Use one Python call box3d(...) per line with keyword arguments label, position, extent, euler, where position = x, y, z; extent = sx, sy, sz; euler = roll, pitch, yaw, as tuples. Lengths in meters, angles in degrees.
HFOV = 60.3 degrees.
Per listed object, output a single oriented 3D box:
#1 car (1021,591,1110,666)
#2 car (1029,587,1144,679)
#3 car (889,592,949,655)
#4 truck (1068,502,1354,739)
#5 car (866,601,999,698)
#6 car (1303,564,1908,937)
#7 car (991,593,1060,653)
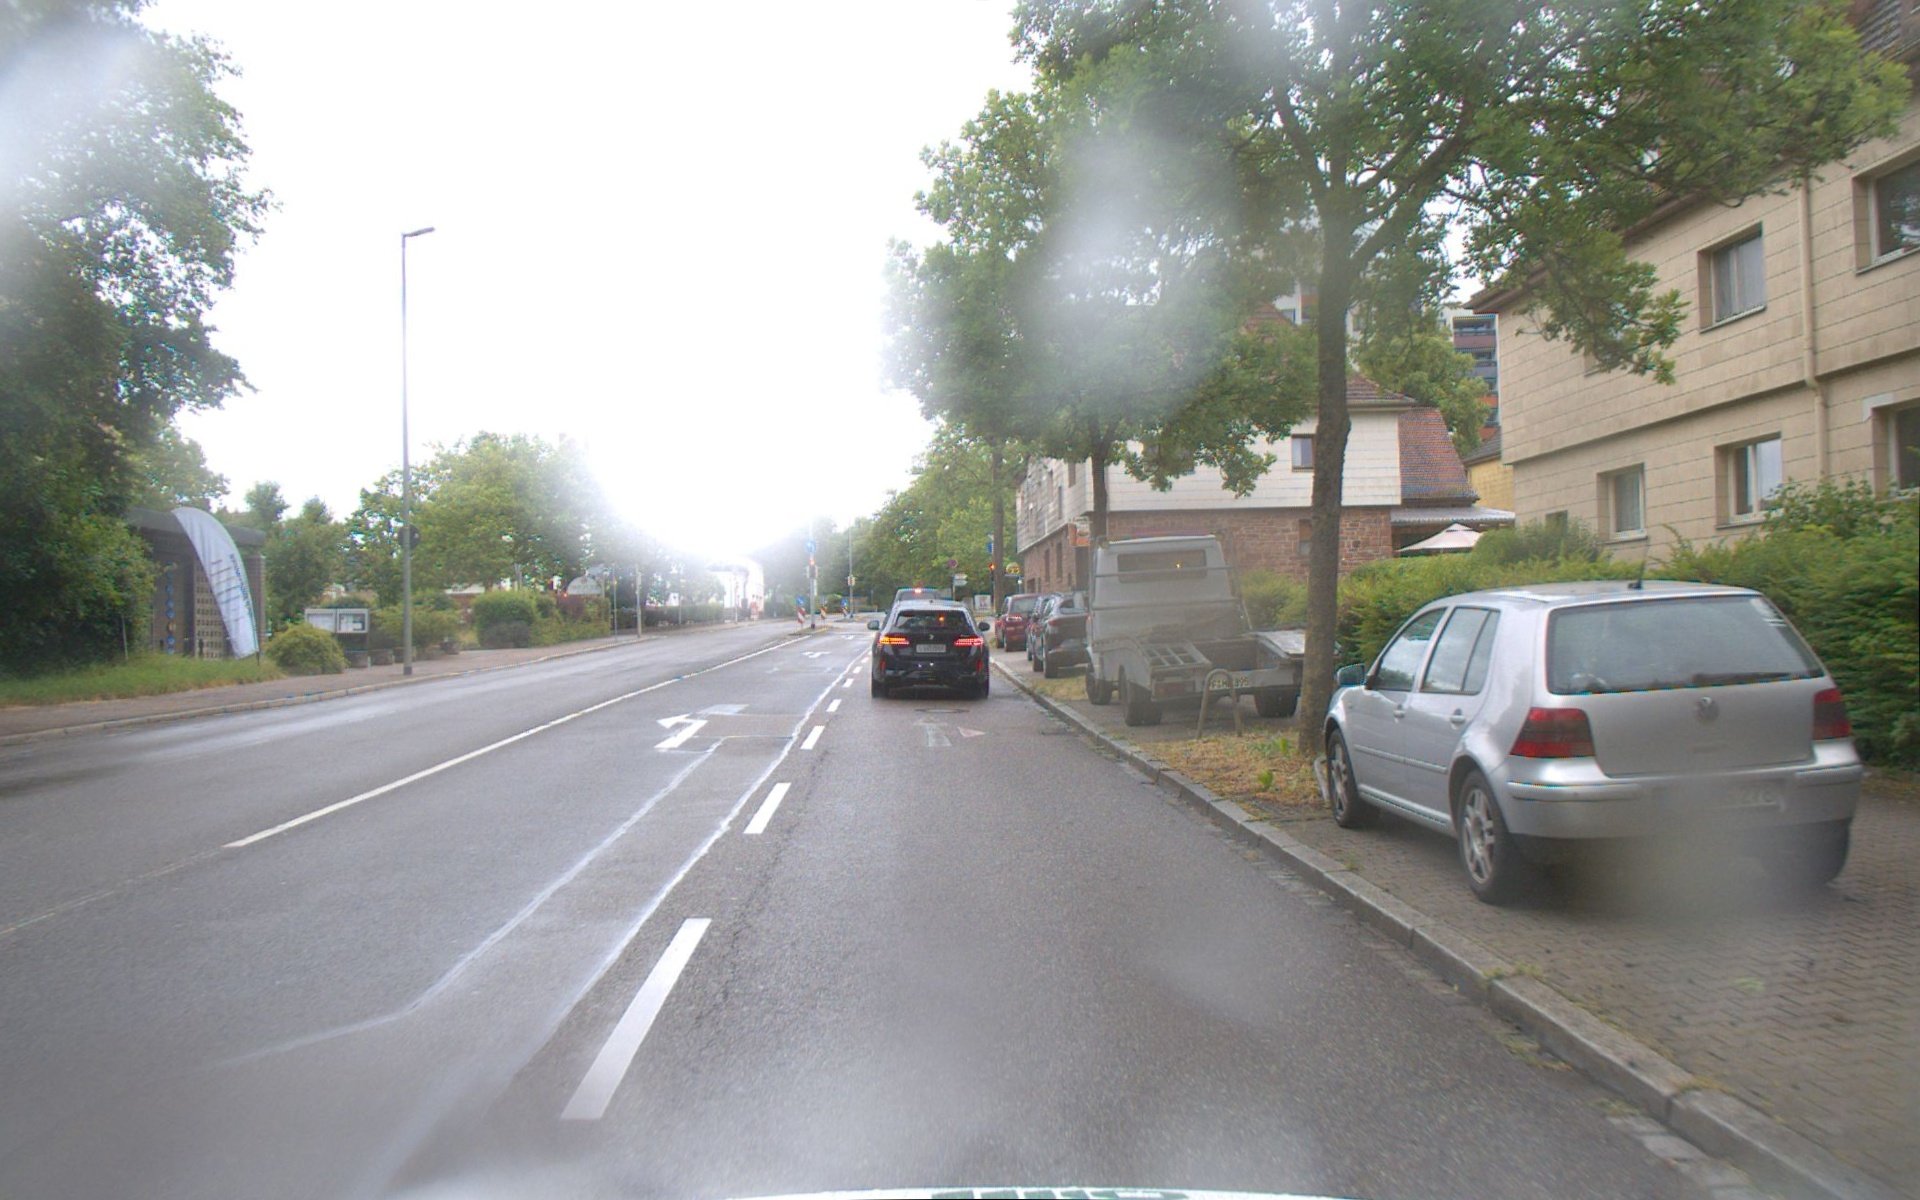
box3d(label="car", position=(2.329, 0.604, 37.362), extent=(1.572, 1.497, 3.855), euler=(-4, 0, -1))
box3d(label="car", position=(2.328, 0.584, 31.386), extent=(1.680, 1.524, 4.182), euler=(-4, 0, -1))
box3d(label="car", position=(-1.297, 0.685, 51.108), extent=(1.748, 1.849, 3.998), euler=(-1, 0, -3))
box3d(label="truck", position=(2.763, 0.211, 20.016), extent=(2.039, 2.260, 6.498), euler=(-4, 0, -3))
box3d(label="car", position=(-0.542, 0.765, 27.423), extent=(2.023, 1.472, 4.480), euler=(0, 0, -3))
box3d(label="car", position=(3.157, 0.623, 9.021), extent=(1.569, 1.461, 4.020), euler=(-4, 0, -1))
box3d(label="car", position=(1.821, 0.626, 46.975), extent=(1.552, 1.516, 3.625), euler=(-4, 1, -3))
